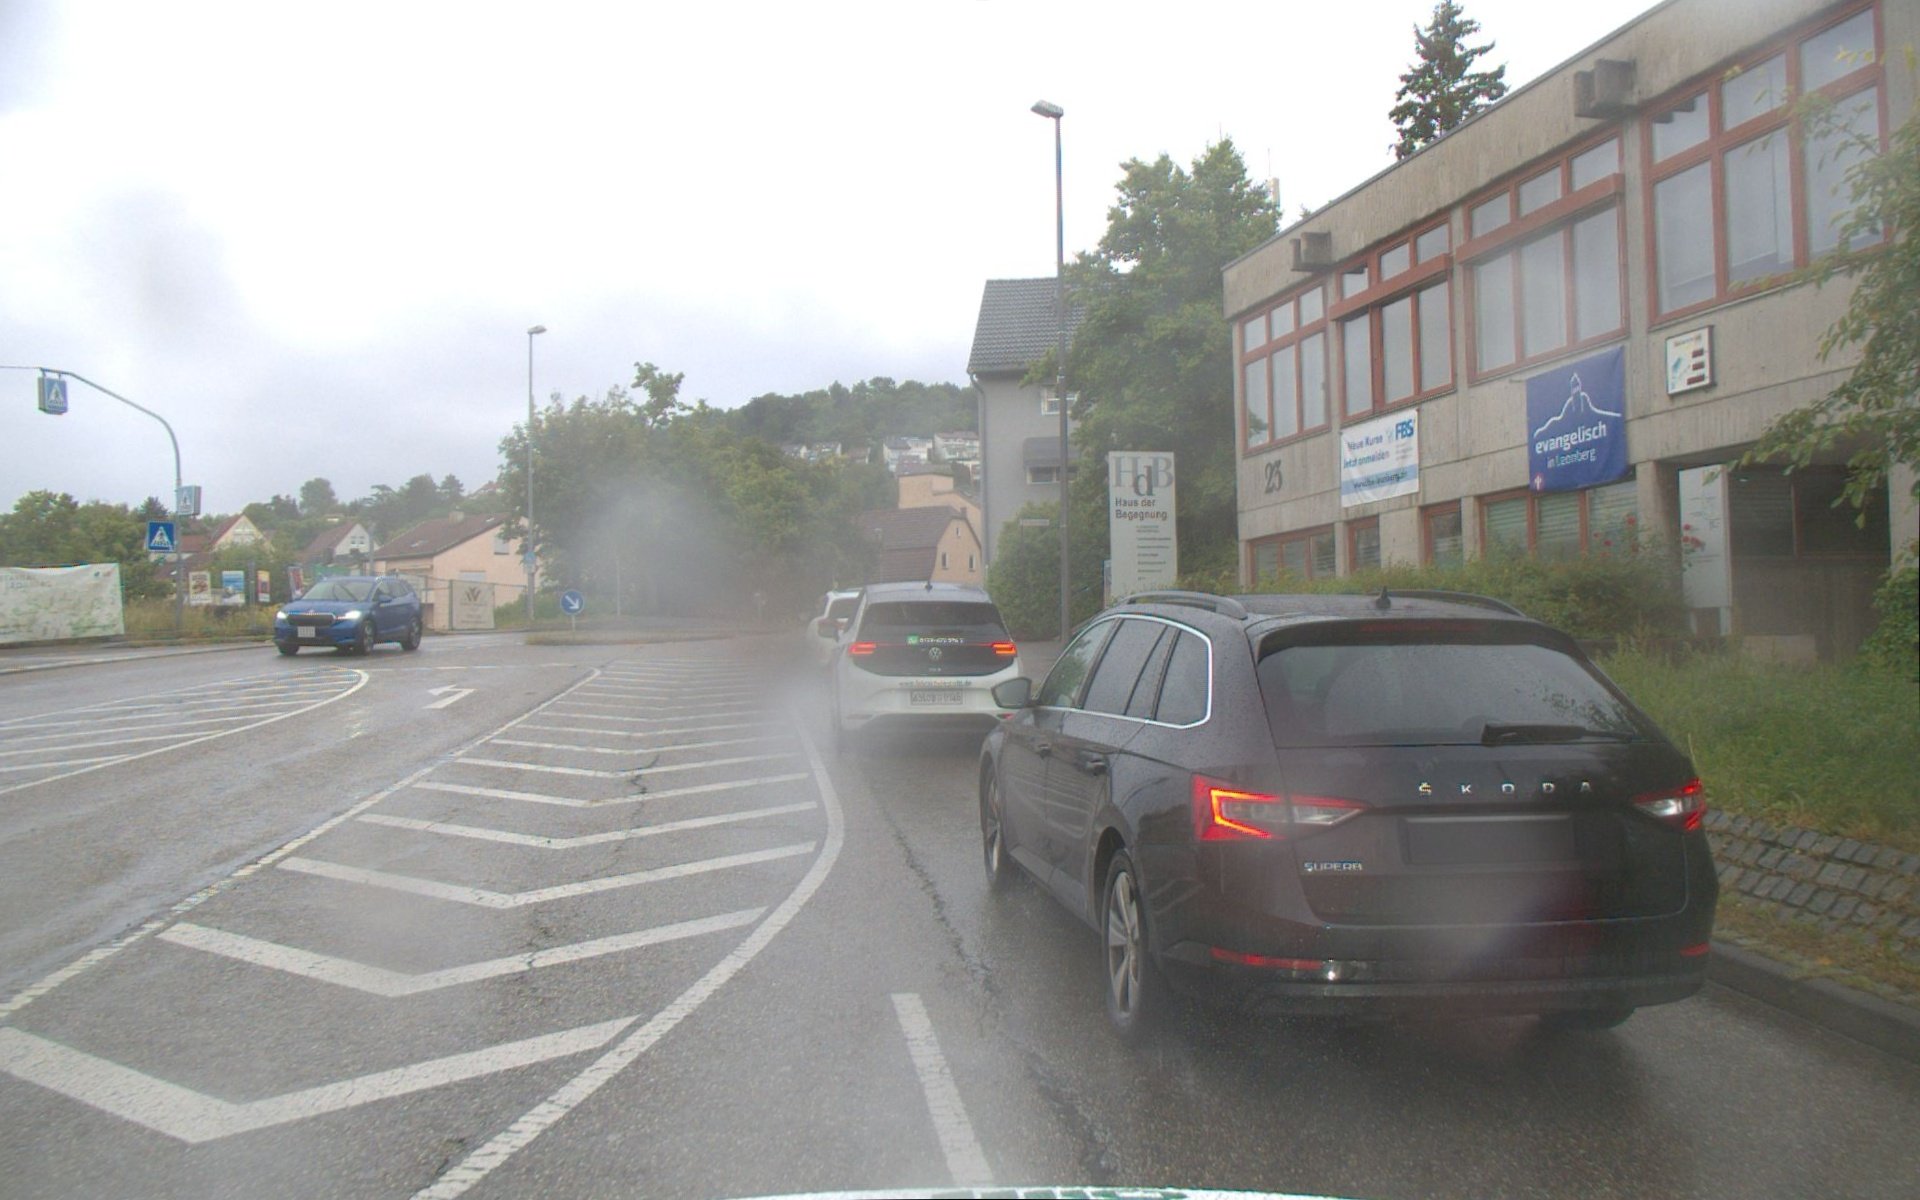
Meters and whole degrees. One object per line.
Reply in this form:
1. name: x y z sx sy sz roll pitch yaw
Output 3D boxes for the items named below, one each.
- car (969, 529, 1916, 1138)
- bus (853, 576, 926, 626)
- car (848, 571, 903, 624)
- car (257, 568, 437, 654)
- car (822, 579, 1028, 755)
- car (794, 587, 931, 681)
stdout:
1. car: 1.315 0.640 6.592 1.917 1.534 4.600 2 -1 -7
2. bus: -3.919 0.017 93.632 2.345 2.723 7.054 -1 1 13
3. car: -2.595 -0.090 51.476 1.535 1.557 4.000 0 0 0
4. car: -13.159 0.253 35.855 1.952 1.723 4.706 1 -1 3
5. car: -0.414 0.602 16.476 1.792 1.526 4.165 0 -1 -3
6. car: -1.703 0.548 27.526 1.814 1.434 4.291 0 -1 -10
